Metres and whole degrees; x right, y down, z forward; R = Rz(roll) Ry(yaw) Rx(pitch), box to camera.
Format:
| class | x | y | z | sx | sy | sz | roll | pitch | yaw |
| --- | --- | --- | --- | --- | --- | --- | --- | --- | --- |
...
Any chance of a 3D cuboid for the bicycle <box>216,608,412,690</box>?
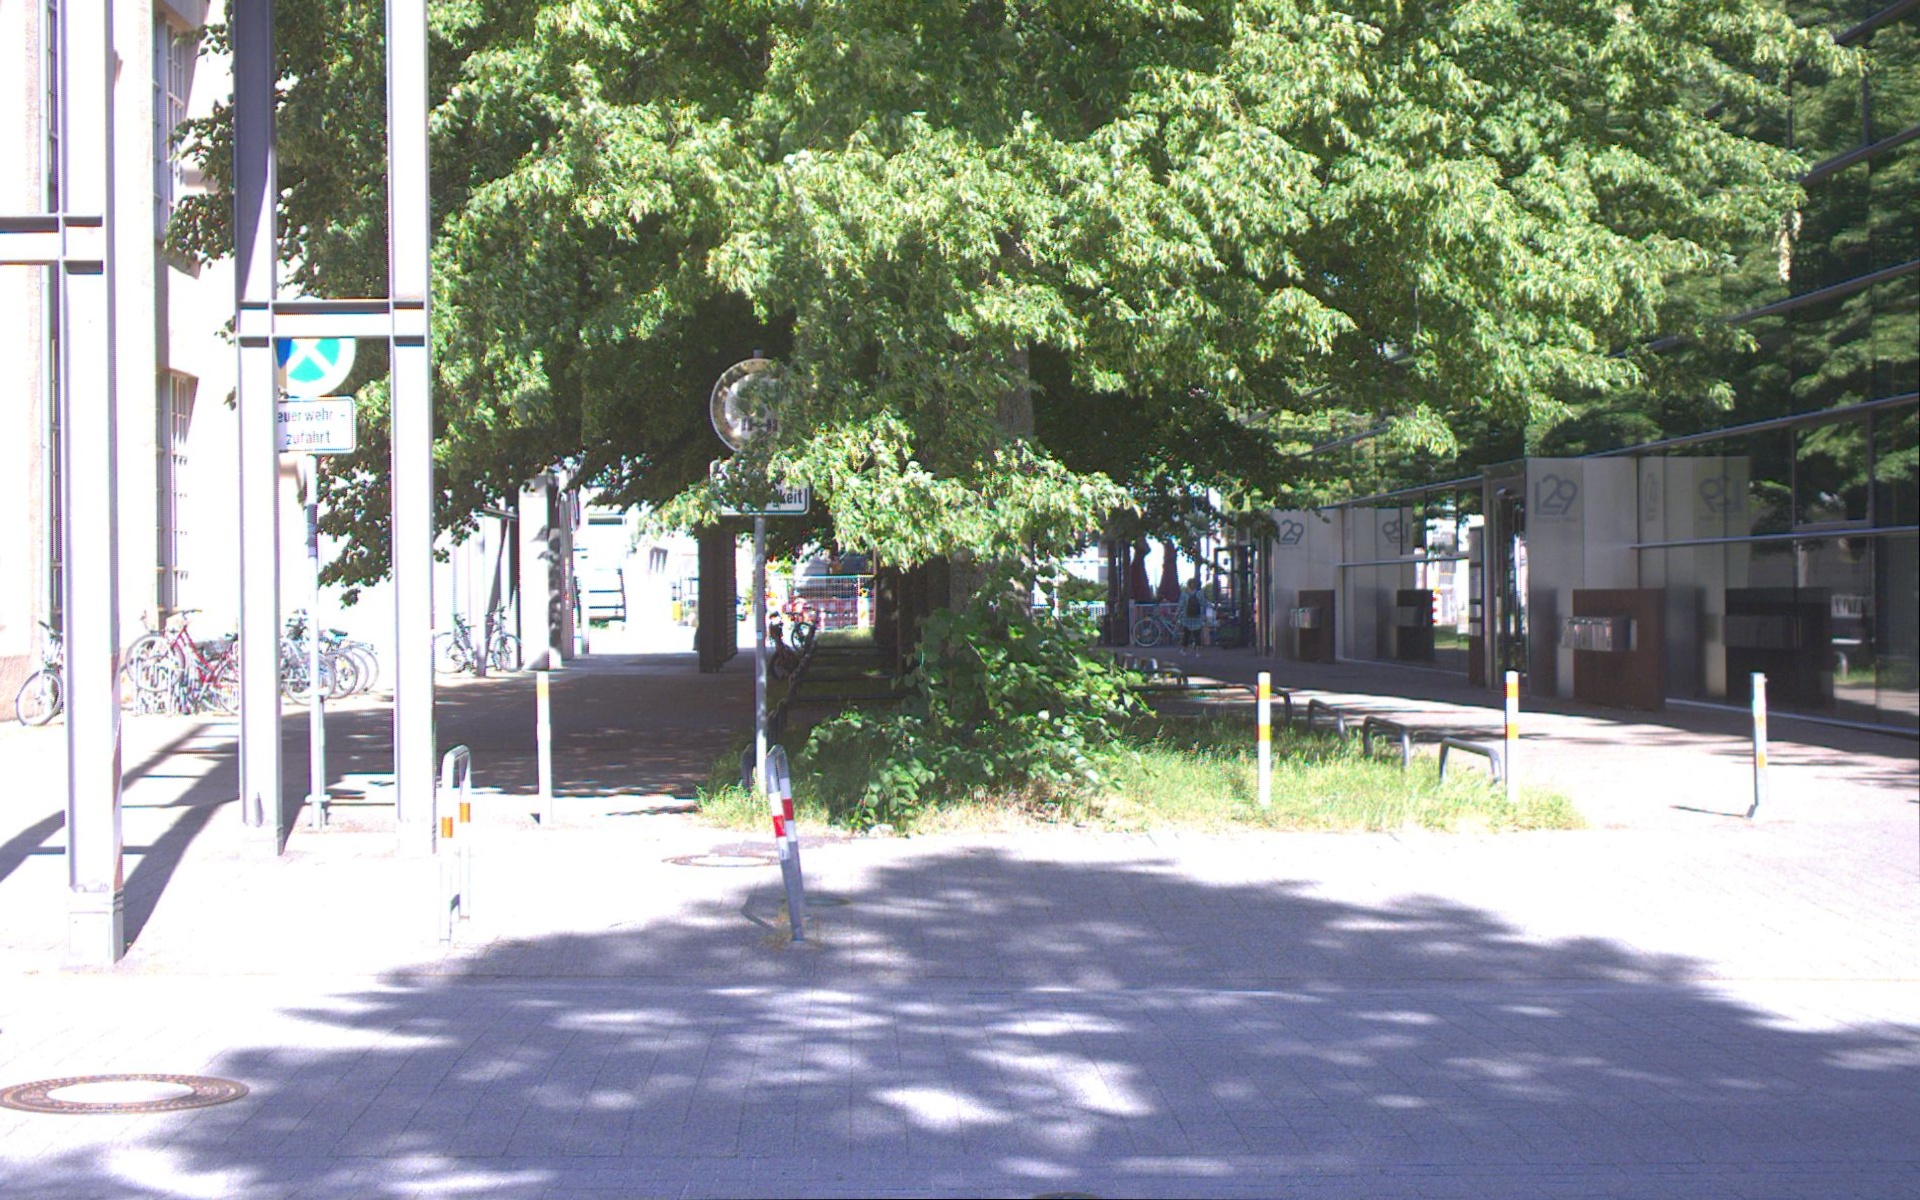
| class | x | y | z | sx | sy | sz | roll | pitch | yaw |
| --- | --- | --- | --- | --- | --- | --- | --- | --- | --- |
| bicycle | -9.325 | 0.698 | 49.676 | 2.731 | 1.147 | 0.719 | 0 | 0 | -6 |

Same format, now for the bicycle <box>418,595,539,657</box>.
| class | x | y | z | sx | sy | sz | roll | pitch | yaw |
| --- | --- | --- | --- | --- | --- | --- | --- | --- | --- |
| bicycle | -8.444 | 0.450 | 60.324 | 2.058 | 1.063 | 0.506 | 0 | 0 | 1 |

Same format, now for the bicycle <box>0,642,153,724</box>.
| class | x | y | z | sx | sy | sz | roll | pitch | yaw |
| --- | --- | --- | --- | --- | --- | --- | --- | --- | --- |
| bicycle | -9.716 | 0.892 | 37.693 | 0.778 | 0.789 | 2.883 | 0 | 1 | 6 |

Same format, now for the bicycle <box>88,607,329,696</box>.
| class | x | y | z | sx | sy | sz | roll | pitch | yaw |
| --- | --- | --- | --- | --- | --- | --- | --- | --- | --- |
| bicycle | -9.206 | 0.631 | 42.188 | 2.800 | 1.059 | 0.719 | 0 | 0 | -1 |

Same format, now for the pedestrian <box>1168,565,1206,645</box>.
| class | x | y | z | sx | sy | sz | roll | pitch | yaw |
| --- | --- | --- | --- | --- | --- | --- | --- | --- | --- |
| pedestrian | 4.425 | 0.090 | 67.081 | 0.717 | 1.545 | 0.690 | 0 | 1 | 5 |

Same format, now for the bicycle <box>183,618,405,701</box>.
| class | x | y | z | sx | sy | sz | roll | pitch | yaw |
| --- | --- | --- | --- | --- | --- | --- | --- | --- | --- |
| bicycle | -8.733 | 0.777 | 45.151 | 2.800 | 1.059 | 0.719 | 0 | 1 | -6 |

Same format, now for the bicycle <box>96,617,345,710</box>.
| class | x | y | z | sx | sy | sz | roll | pitch | yaw |
| --- | --- | --- | --- | --- | --- | --- | --- | --- | --- |
| bicycle | -8.714 | 0.739 | 40.595 | 2.800 | 1.059 | 0.719 | 0 | 1 | -6 |

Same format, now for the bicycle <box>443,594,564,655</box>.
| class | x | y | z | sx | sy | sz | roll | pitch | yaw |
| --- | --- | --- | --- | --- | --- | --- | --- | --- | --- |
| bicycle | -8.094 | 0.429 | 60.970 | 2.058 | 1.063 | 0.506 | 0 | 0 | 1 |

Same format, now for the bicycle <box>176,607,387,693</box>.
| class | x | y | z | sx | sy | sz | roll | pitch | yaw |
| --- | --- | --- | --- | --- | --- | --- | --- | --- | --- |
| bicycle | -9.380 | 0.685 | 47.570 | 2.800 | 1.147 | 0.719 | 0 | 0 | -6 |

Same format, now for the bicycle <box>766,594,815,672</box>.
| class | x | y | z | sx | sy | sz | roll | pitch | yaw |
| --- | --- | --- | --- | --- | --- | --- | --- | --- | --- |
| bicycle | -2.699 | 0.505 | 54.571 | 0.619 | 1.193 | 2.132 | 0 | 1 | -7 |

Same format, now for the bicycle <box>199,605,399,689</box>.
| class | x | y | z | sx | sy | sz | roll | pitch | yaw |
| --- | --- | --- | --- | --- | --- | --- | --- | --- | --- |
| bicycle | -9.387 | 0.662 | 48.884 | 2.731 | 1.147 | 0.719 | 0 | 0 | -6 |
